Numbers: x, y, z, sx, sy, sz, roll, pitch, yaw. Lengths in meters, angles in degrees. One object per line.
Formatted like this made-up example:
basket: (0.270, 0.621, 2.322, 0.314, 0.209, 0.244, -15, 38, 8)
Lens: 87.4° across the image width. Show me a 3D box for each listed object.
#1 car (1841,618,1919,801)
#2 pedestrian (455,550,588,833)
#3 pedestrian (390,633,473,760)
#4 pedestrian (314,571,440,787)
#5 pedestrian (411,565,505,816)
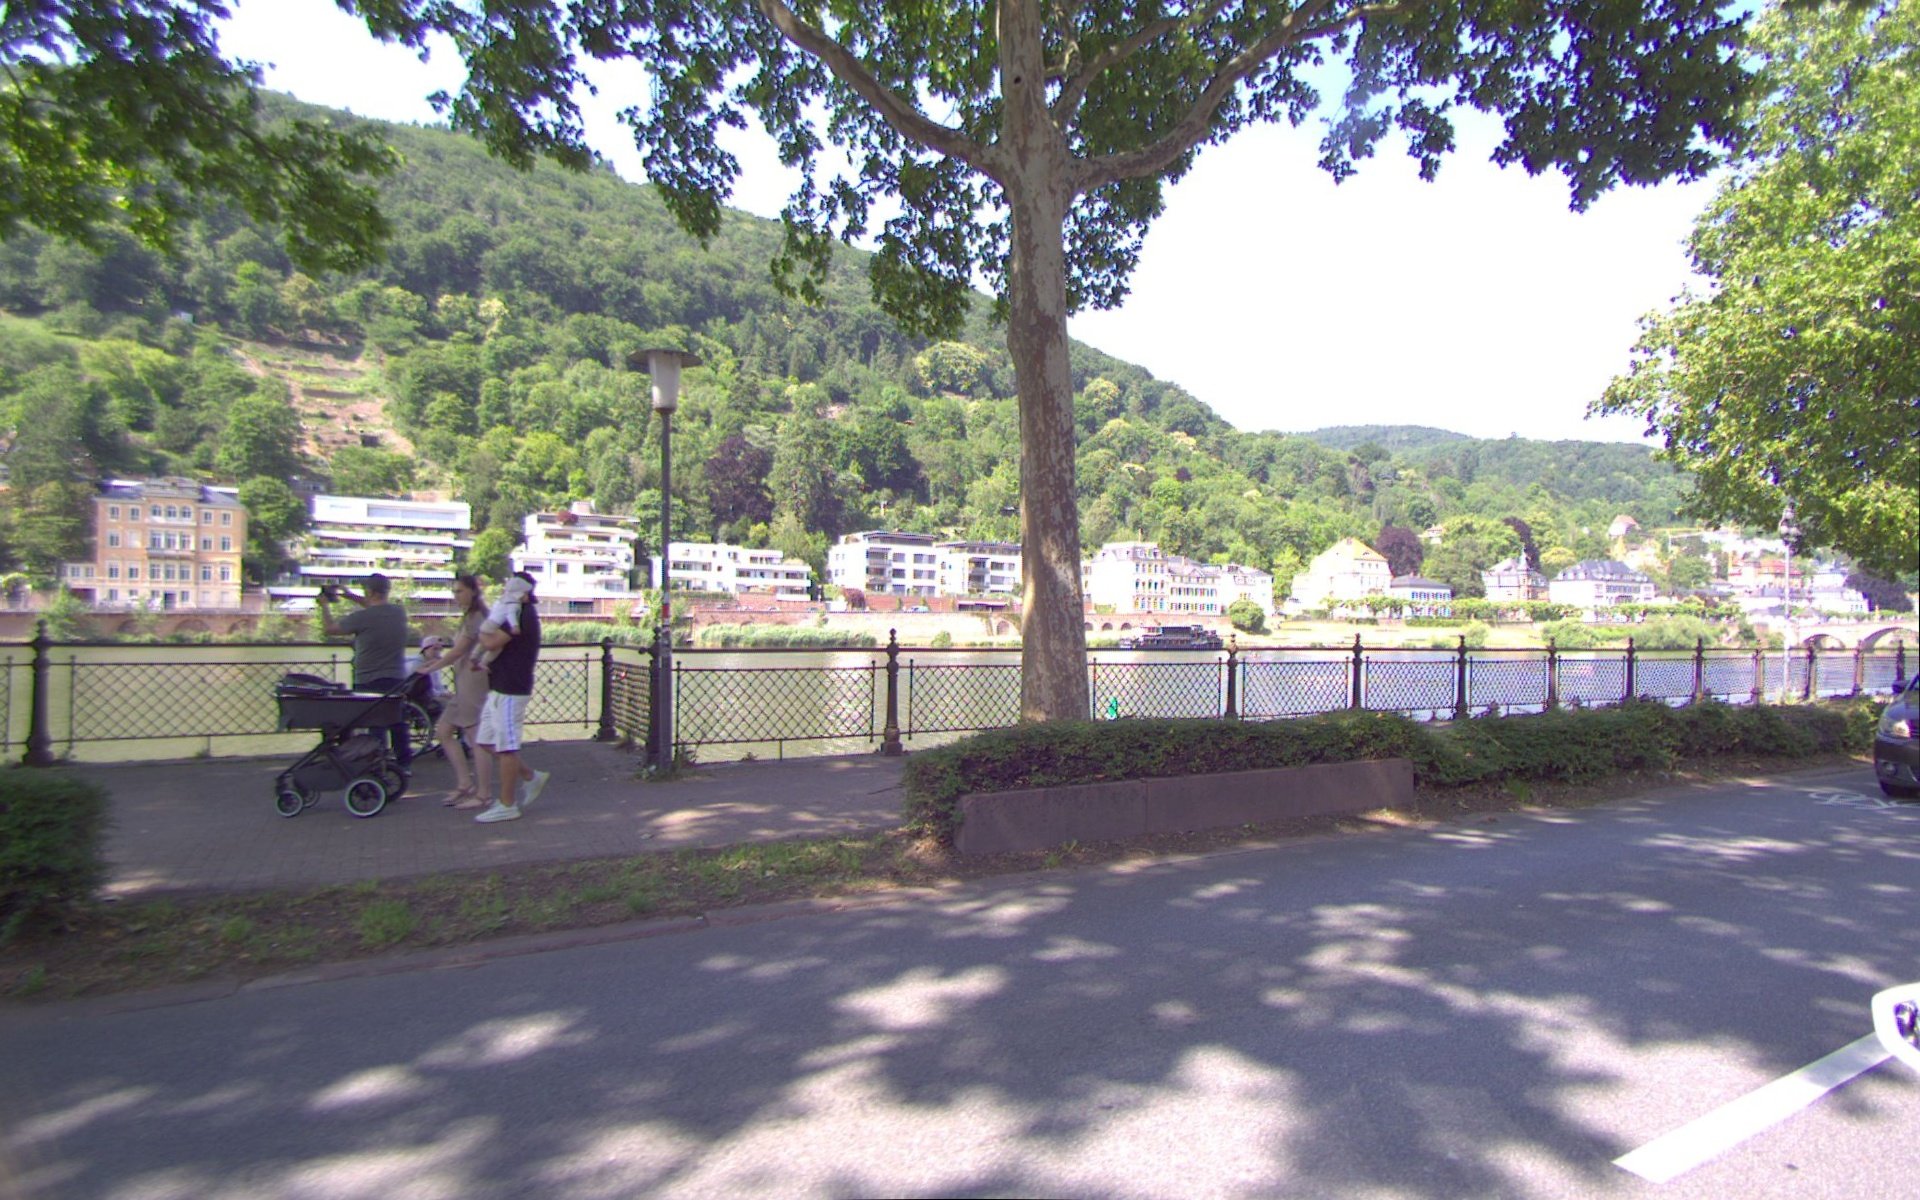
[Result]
car: (10.686, 1.041, 9.940, 4.041, 1.669, 1.755, 2, -2, -30)
pedestrian: (-3.156, 0.628, 7.224, 0.796, 1.895, 0.638, 1, -2, -29)
pedestrian: (-5.221, 0.928, 9.929, 0.687, 1.193, 0.607, 1, -2, -29)
pedestrian: (-4.981, 0.653, 8.603, 0.864, 1.740, 0.689, 1, -2, -31)
pedestrian: (-3.785, 0.657, 7.563, 0.585, 1.791, 0.514, 1, -2, -29)
